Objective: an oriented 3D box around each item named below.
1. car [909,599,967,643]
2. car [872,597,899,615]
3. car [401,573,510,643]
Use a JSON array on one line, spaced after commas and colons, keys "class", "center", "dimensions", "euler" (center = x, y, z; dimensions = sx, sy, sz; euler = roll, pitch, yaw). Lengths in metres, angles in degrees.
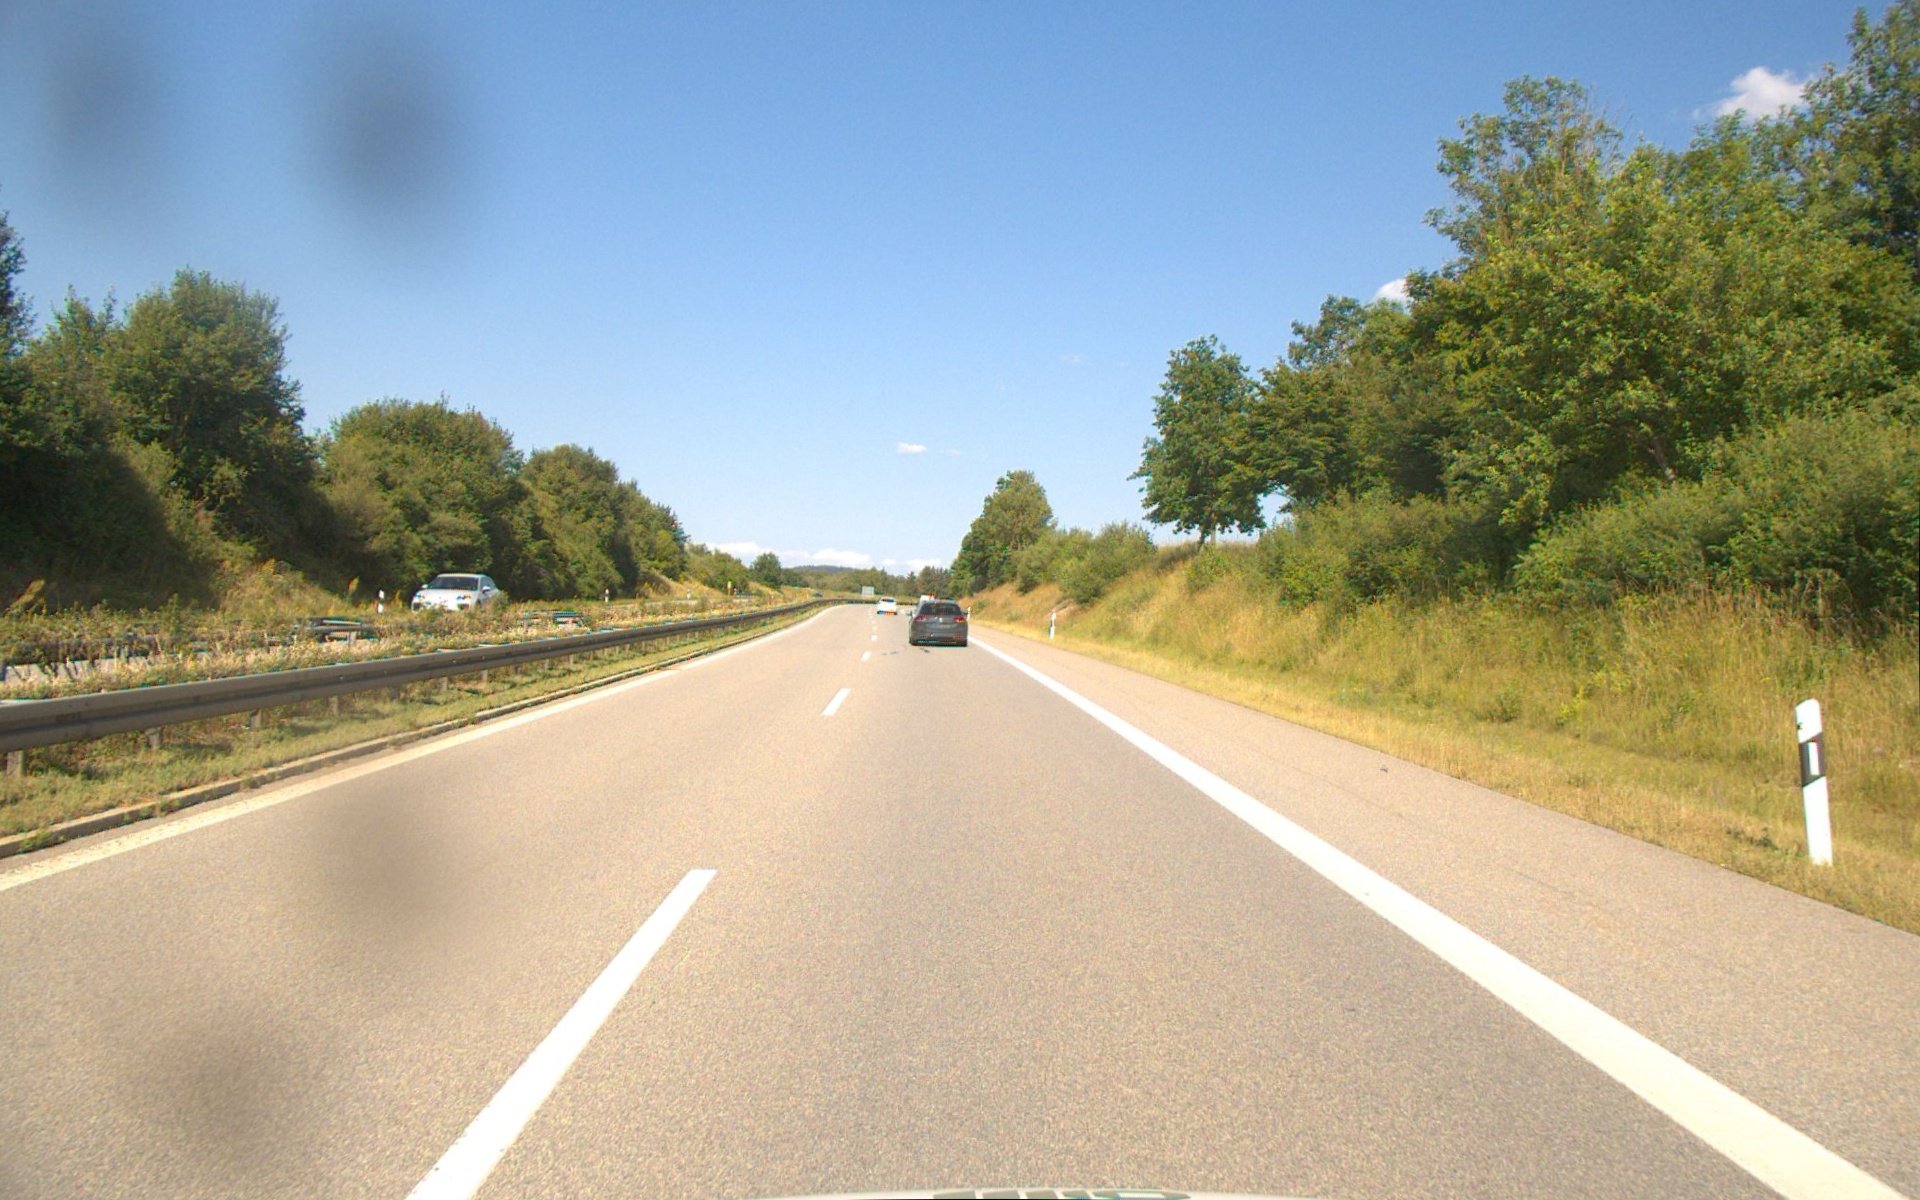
[{"class": "car", "center": [-0.725, 0.646, 52.652], "dimensions": [1.755, 1.368, 3.999], "euler": [0, 0, -1]}, {"class": "car", "center": [-6.433, 0.514, 142.086], "dimensions": [1.969, 1.367, 3.995], "euler": [6, -1, -6]}, {"class": "car", "center": [-15.487, 0.242, 51.045], "dimensions": [1.953, 2.049, 4.854], "euler": [1, 0, -2]}]
